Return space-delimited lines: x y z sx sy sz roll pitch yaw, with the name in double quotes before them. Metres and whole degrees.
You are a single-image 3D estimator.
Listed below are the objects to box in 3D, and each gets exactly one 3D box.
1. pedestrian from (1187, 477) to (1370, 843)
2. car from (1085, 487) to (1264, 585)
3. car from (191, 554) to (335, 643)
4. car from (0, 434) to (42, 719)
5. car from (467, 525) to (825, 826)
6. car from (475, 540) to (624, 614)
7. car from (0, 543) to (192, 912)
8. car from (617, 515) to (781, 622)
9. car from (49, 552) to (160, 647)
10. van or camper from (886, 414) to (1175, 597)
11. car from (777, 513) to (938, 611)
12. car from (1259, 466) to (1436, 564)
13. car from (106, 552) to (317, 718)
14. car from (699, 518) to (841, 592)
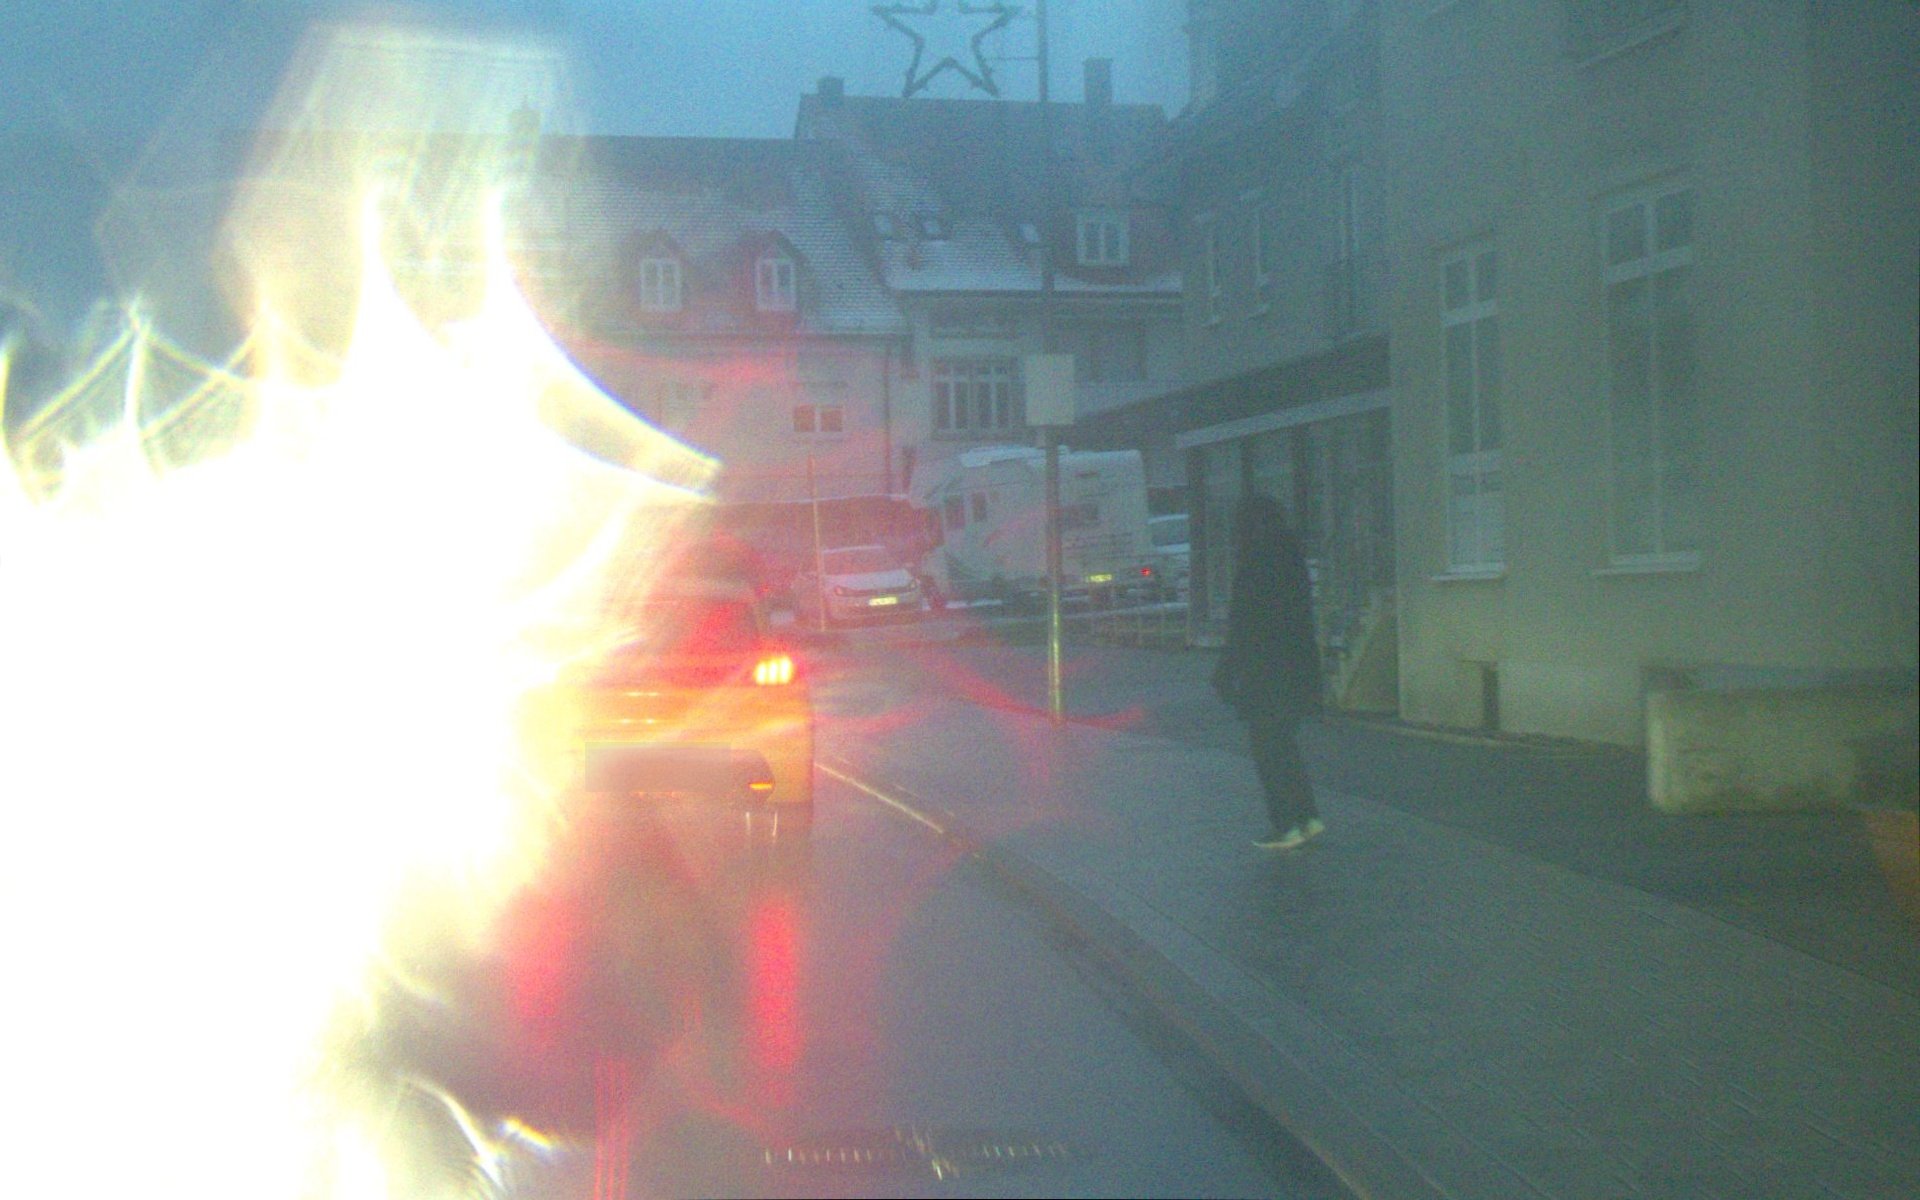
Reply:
"pedestrian" 1.544 0.271 16.773 0.745 1.723 0.873 -1 2 -3
"car" 3.888 -1.169 63.037 1.788 1.548 4.001 -7 3 -18
"car" -12.765 -0.051 62.797 1.993 1.583 4.001 0 1 -20
"car" -9.719 -0.211 29.787 2.485 2.551 6.763 0 0 -7
"car" -1.766 0.362 19.528 1.814 1.528 4.001 0 1 -5
"car" -8.504 -0.498 70.976 1.886 1.457 3.634 -2 1 -27
"car" -4.973 0.536 17.013 1.993 1.550 4.259 -1 2 -9
"car" -4.762 -0.585 62.162 1.993 1.759 4.352 -3 2 -16
"car" -20.297 -0.036 81.478 1.993 2.195 4.001 0 1 -22
"van or camper" 1.188 -1.686 63.264 2.650 3.037 6.736 -5 2 -22
"car" -1.904 -0.666 62.511 1.993 1.605 4.175 -3 0 -14
"car" 7.156 -1.574 63.908 1.993 1.601 4.001 -5 2 -12
"car" -7.867 0.335 36.464 1.917 1.559 4.227 -3 1 -9
"car" -4.140 -0.998 74.298 1.822 1.457 4.550 -3 2 -19
